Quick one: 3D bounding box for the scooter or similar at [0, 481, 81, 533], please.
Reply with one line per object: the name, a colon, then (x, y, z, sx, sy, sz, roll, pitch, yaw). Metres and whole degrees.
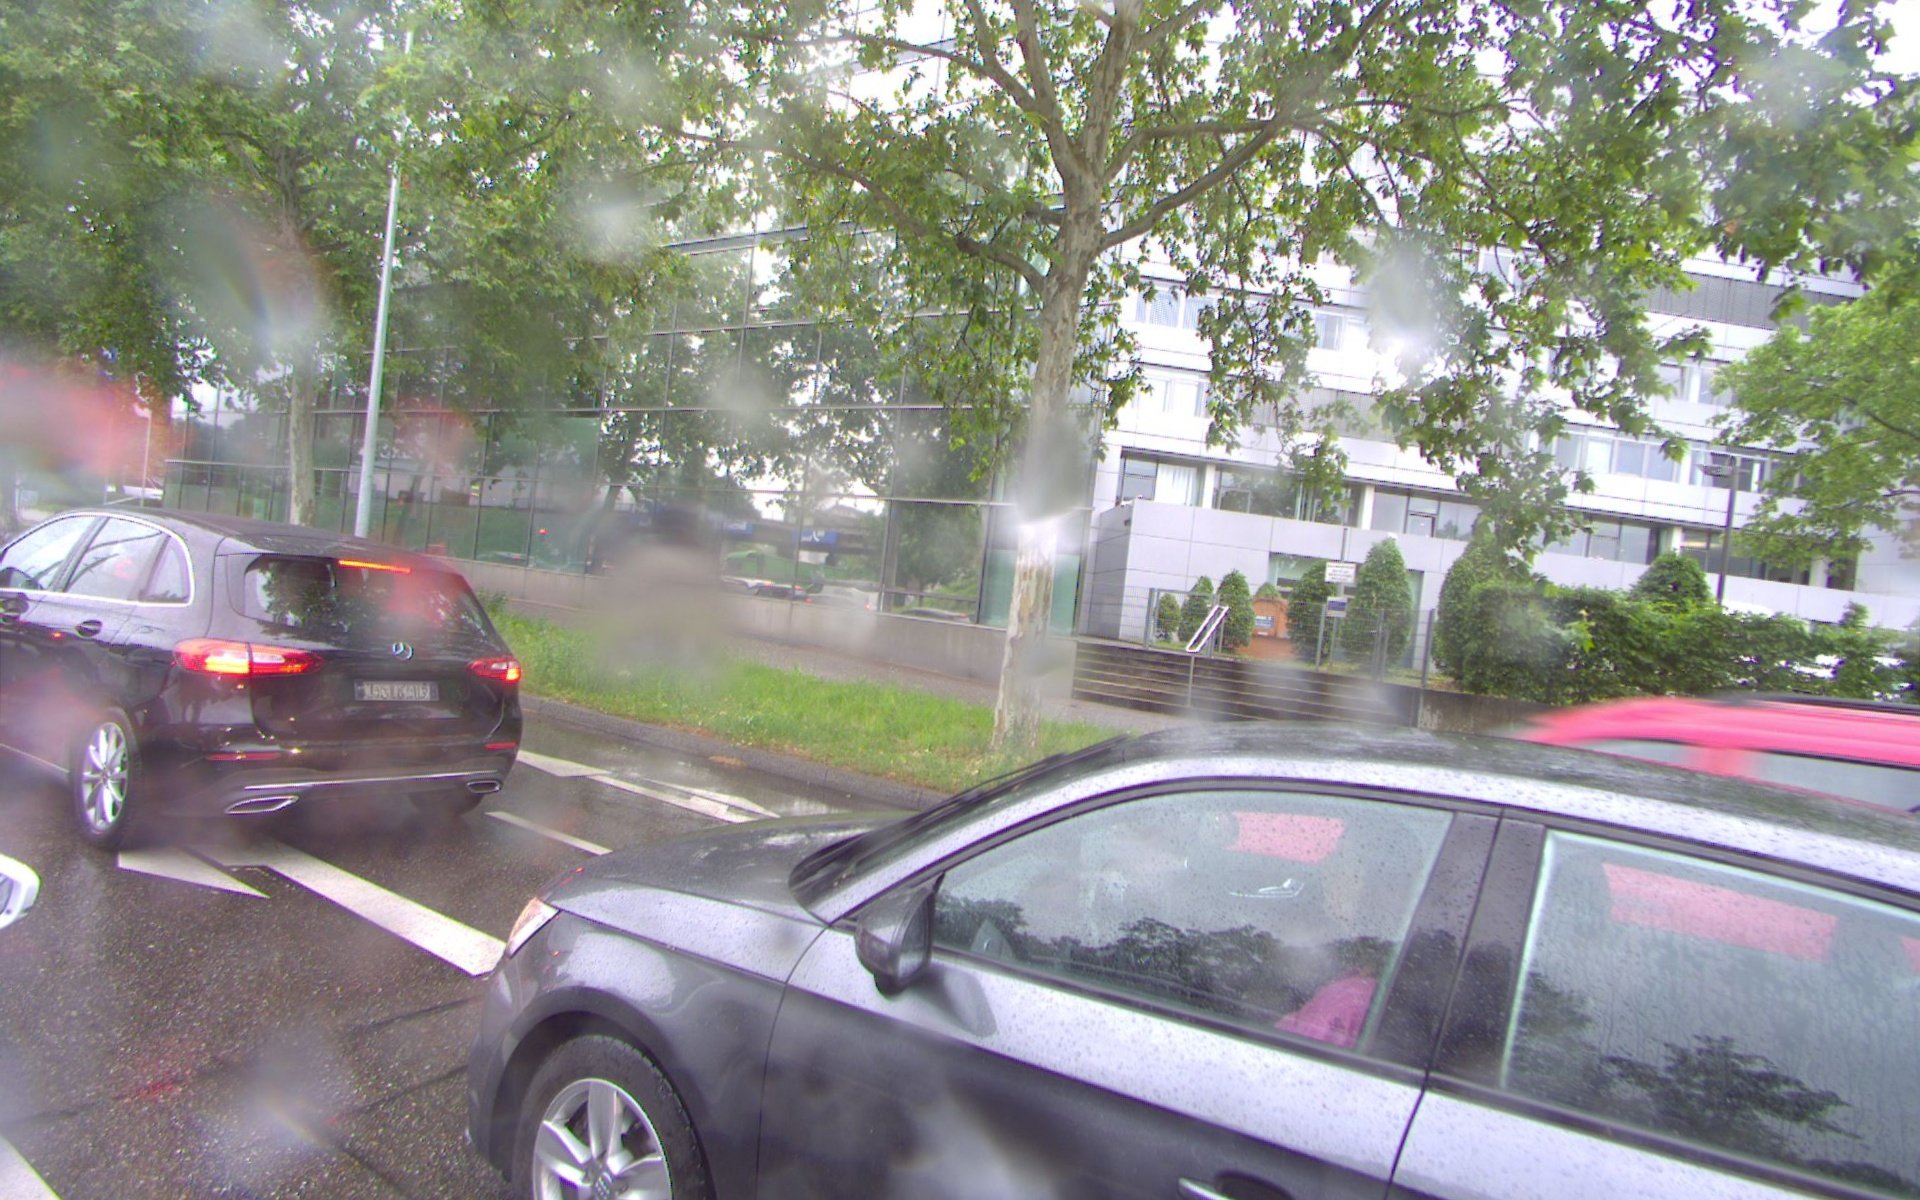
scooter or similar: (-54.534, -5.516, 58.159, 5.228, 2.476, 1.893, 7, 0, -9)

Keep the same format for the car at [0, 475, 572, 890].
car: (-4.356, 0.244, 5.765, 4.022, 1.573, 1.751, 7, -1, 31)

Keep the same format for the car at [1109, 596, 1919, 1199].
car: (2.985, 1.101, 4.199, 4.201, 1.714, 1.714, 6, -2, 31)

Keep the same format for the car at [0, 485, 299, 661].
car: (-10.438, -0.370, 12.693, 3.933, 1.631, 1.880, 7, -2, 32)

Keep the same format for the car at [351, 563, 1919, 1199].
car: (0.643, 0.891, 2.130, 3.718, 1.445, 1.679, 7, -1, 31)
